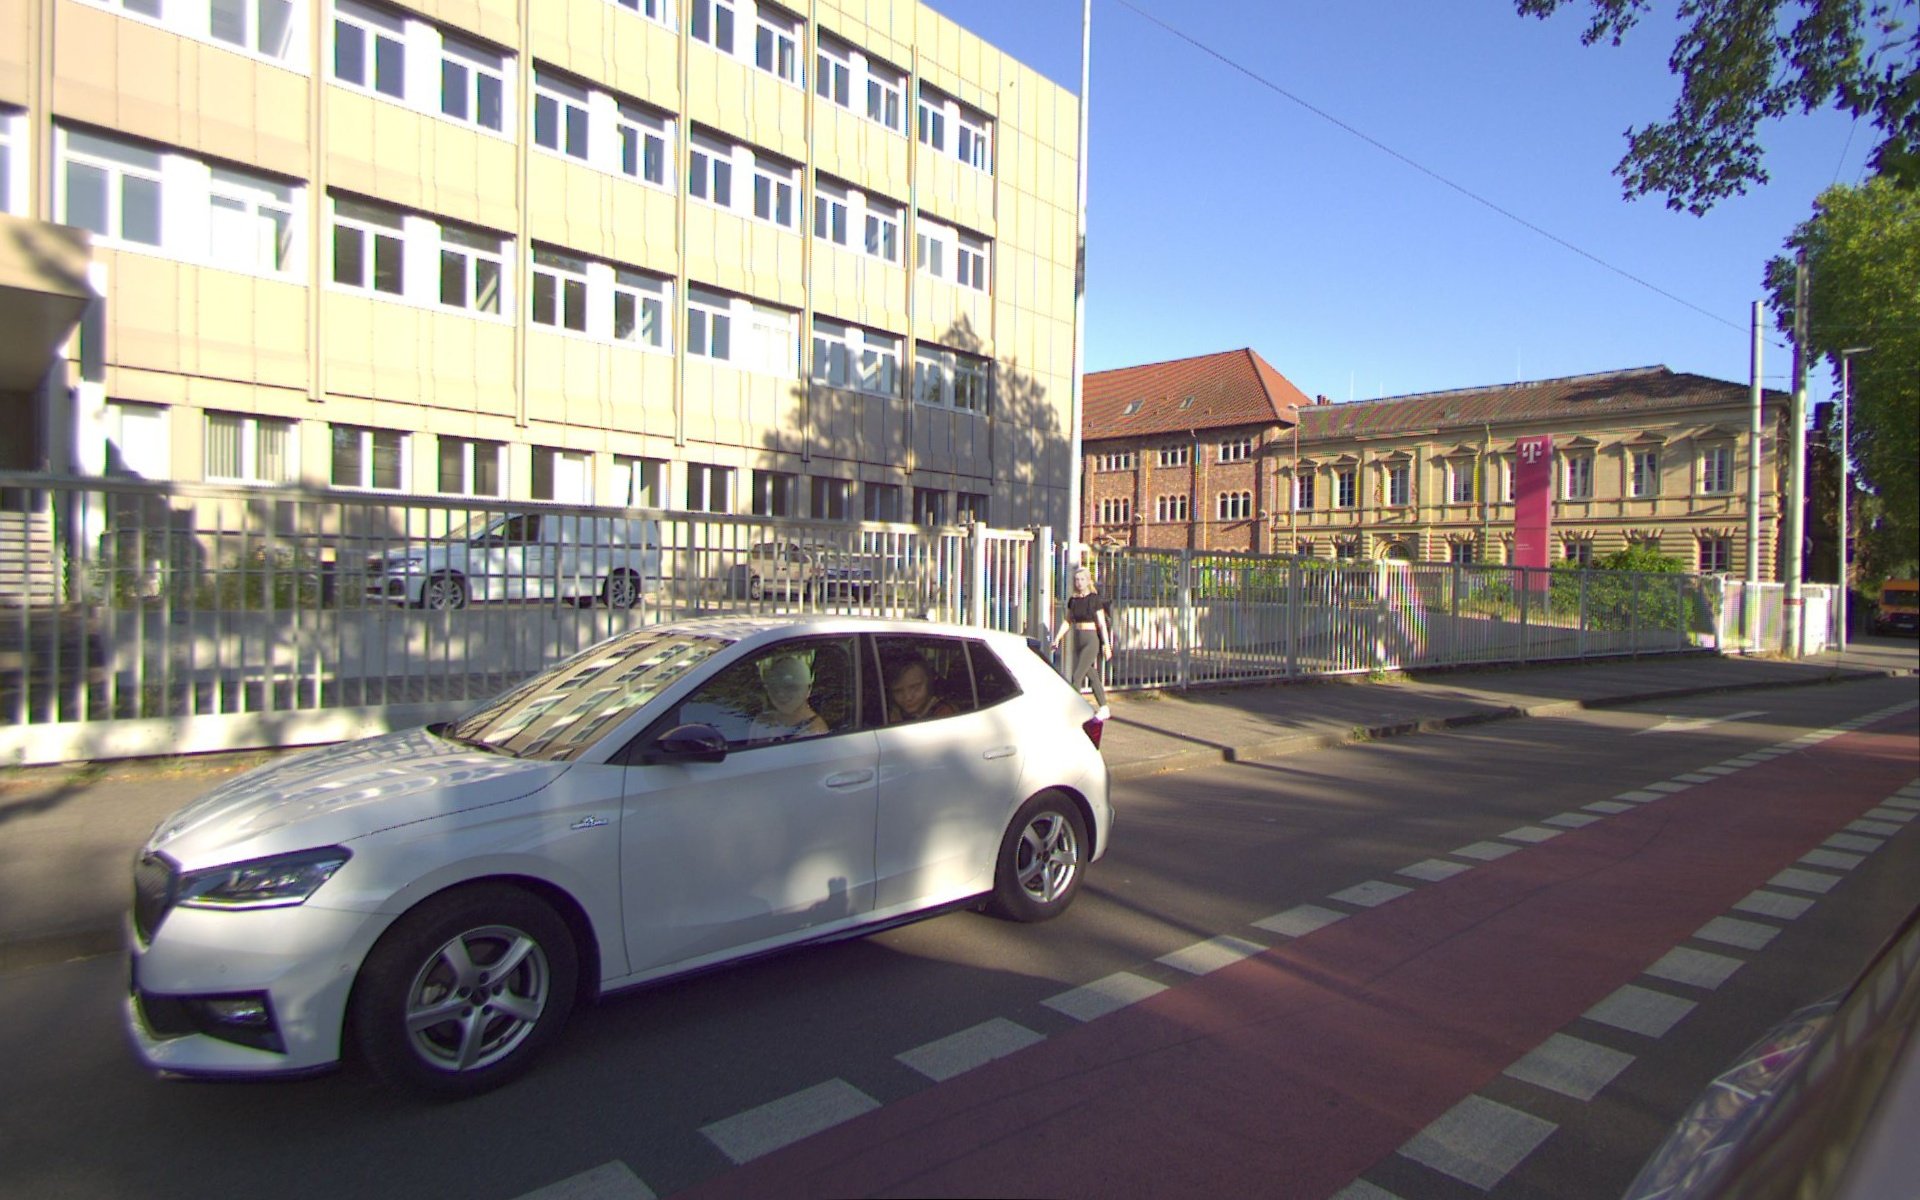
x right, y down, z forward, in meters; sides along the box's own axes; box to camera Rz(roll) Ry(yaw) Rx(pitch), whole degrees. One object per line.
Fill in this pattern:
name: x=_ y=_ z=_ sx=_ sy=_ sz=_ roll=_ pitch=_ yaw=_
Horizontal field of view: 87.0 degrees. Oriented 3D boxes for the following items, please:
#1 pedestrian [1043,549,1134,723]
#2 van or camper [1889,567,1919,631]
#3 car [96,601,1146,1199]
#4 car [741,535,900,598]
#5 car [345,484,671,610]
pedestrian: x=1.373 y=0.360 z=10.825 sx=0.757 sy=1.784 sz=0.592 roll=0 pitch=1 yaw=-41
van or camper: x=41.144 y=-0.059 z=43.237 sx=1.994 sy=2.626 sz=5.537 roll=0 pitch=0 yaw=44
car: x=-1.100 y=0.725 z=4.400 sx=4.005 sy=1.406 sz=1.703 roll=0 pitch=0 yaw=-42
car: x=-3.922 y=-0.920 z=27.994 sx=4.563 sy=1.601 sz=1.968 roll=2 pitch=2 yaw=44
car: x=-7.585 y=-0.822 z=17.330 sx=1.994 sy=1.865 sz=4.709 roll=2 pitch=2 yaw=44
